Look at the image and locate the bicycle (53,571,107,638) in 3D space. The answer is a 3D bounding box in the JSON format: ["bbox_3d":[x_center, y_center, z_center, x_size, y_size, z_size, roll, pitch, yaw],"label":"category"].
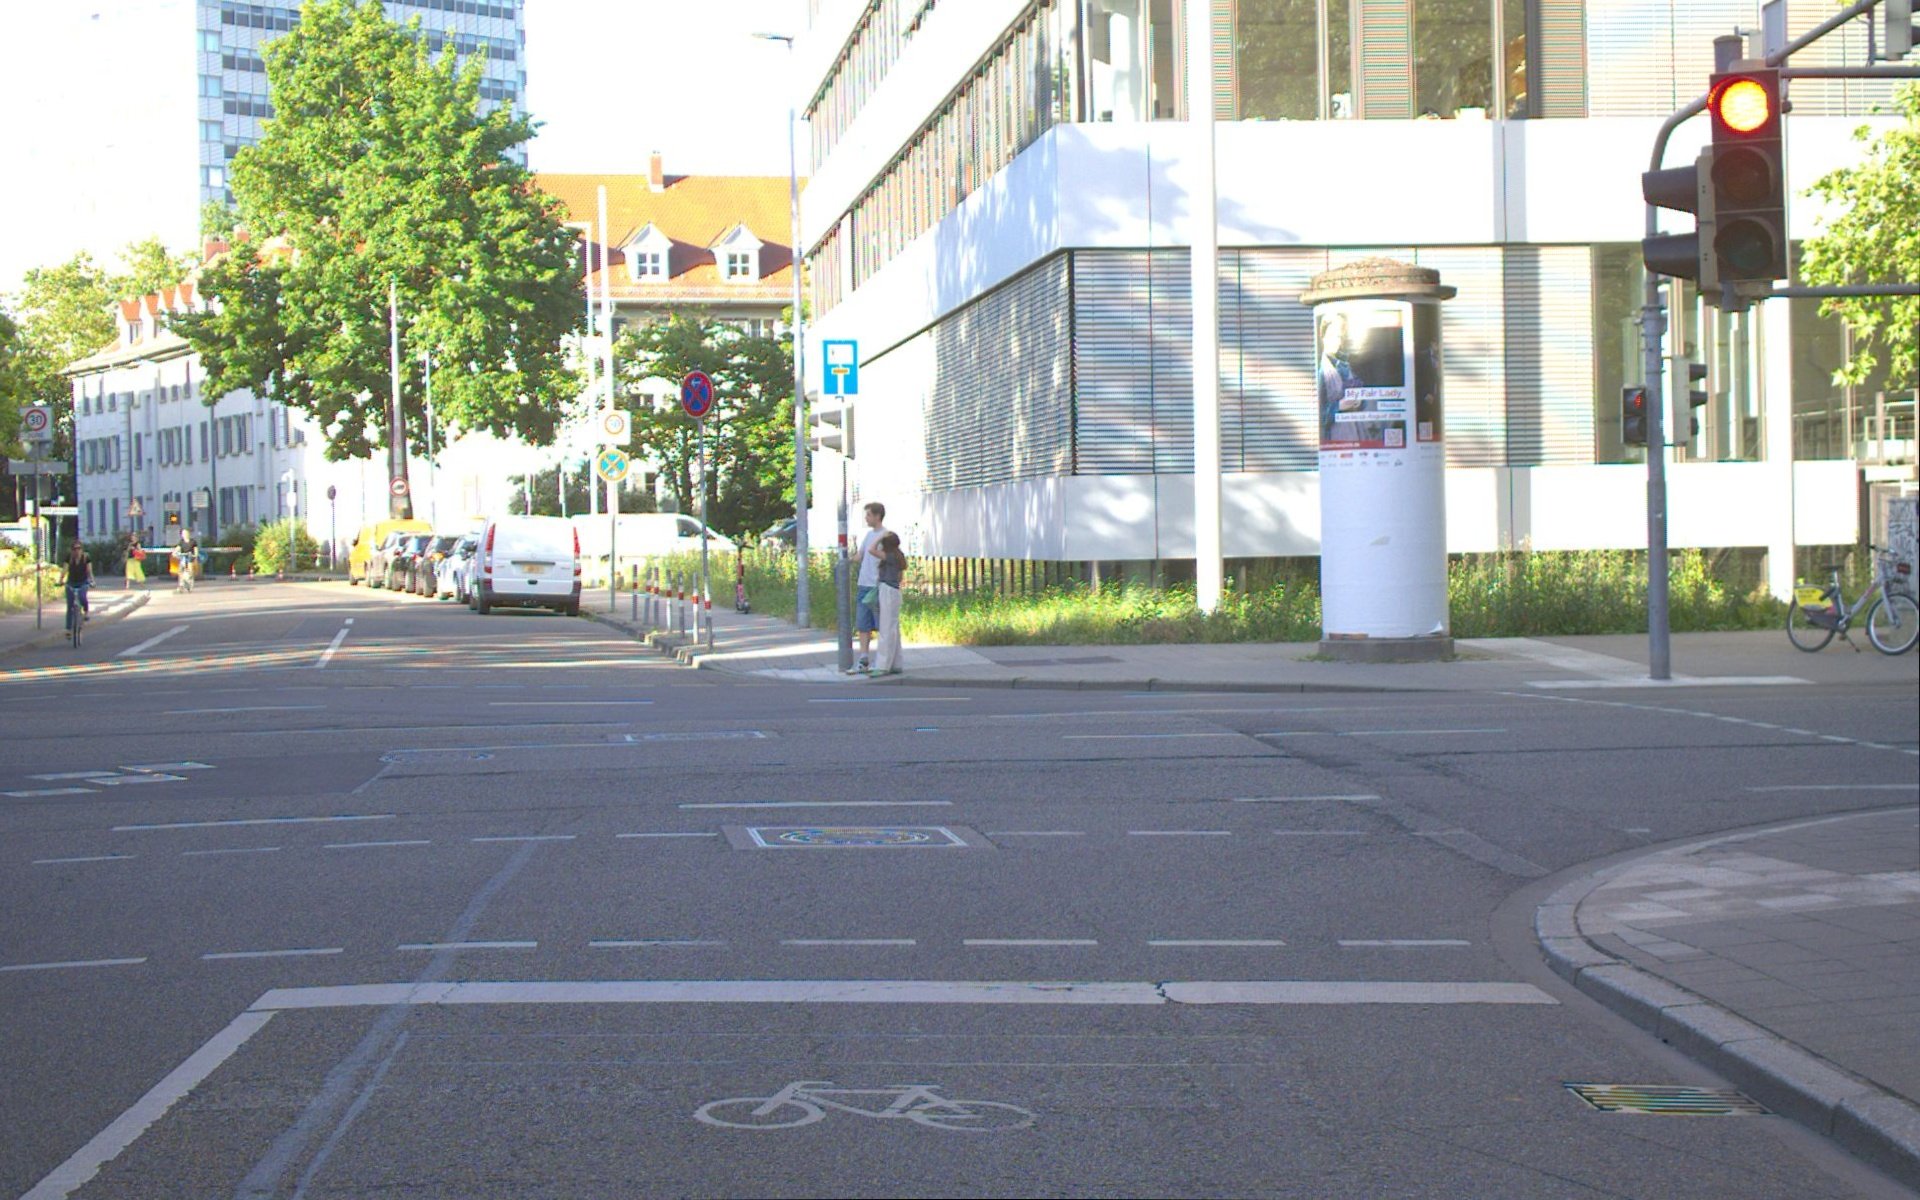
[{"bbox_3d":[-13.587,0.059,53.130,0.615,0.966,1.842,-2,1,-9],"label":"bicycle"}]

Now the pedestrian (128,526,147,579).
[{"bbox_3d":[-24.909,-1.443,104.087,0.433,1.602,0.493,-2,1,-26],"label":"pedestrian"}]

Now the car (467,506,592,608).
[{"bbox_3d":[-8.151,-0.842,64.785,2.084,1.789,4.417,-1,2,-10],"label":"car"}]

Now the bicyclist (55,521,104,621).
[{"bbox_3d":[-13.584,-0.454,53.039,0.615,1.527,0.903,-2,1,-9],"label":"bicyclist"}]

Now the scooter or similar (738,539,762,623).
[{"bbox_3d":[-3.585,-0.326,58.565,0.330,1.419,1.335,1,0,-6],"label":"scooter or similar"}]

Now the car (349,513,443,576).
[{"bbox_3d":[-15.691,-1.567,95.491,1.888,1.650,4.417,-1,2,-19],"label":"car"}]

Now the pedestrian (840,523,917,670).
[{"bbox_3d":[-0.883,-0.042,37.198,0.559,1.535,0.677,-5,2,-18],"label":"pedestrian"}]

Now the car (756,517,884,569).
[{"bbox_3d":[-4.243,-1.736,104.233,3.554,1.541,1.559,-1,1,-19],"label":"car"}]

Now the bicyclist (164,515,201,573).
[{"bbox_3d":[-20.975,-1.514,92.730,0.865,1.510,1.019,-4,1,-11],"label":"bicyclist"}]

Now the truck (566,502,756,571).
[{"bbox_3d":[-8.958,-1.915,103.045,5.336,2.007,2.001,-1,1,-19],"label":"truck"}]

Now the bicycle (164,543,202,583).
[{"bbox_3d":[-20.950,-0.993,92.725,0.865,1.006,2.415,-4,1,-11],"label":"bicycle"}]

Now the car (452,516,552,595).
[{"bbox_3d":[-9.740,-0.965,72.938,1.888,1.550,4.417,-1,2,-10],"label":"car"}]

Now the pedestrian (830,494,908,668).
[{"bbox_3d":[-0.999,-0.213,37.801,0.560,1.844,0.677,-3,2,16],"label":"pedestrian"}]

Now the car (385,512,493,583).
[{"bbox_3d":[-12.996,-1.326,85.556,1.888,1.650,4.417,-1,2,-19],"label":"car"}]

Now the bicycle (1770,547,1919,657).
[{"bbox_3d":[9.316,0.007,36.031,0.507,1.045,1.687,-4,5,-35],"label":"bicycle"}]

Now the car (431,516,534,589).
[{"bbox_3d":[-10.913,-1.110,78.308,1.888,1.550,4.417,-1,2,-13],"label":"car"}]
